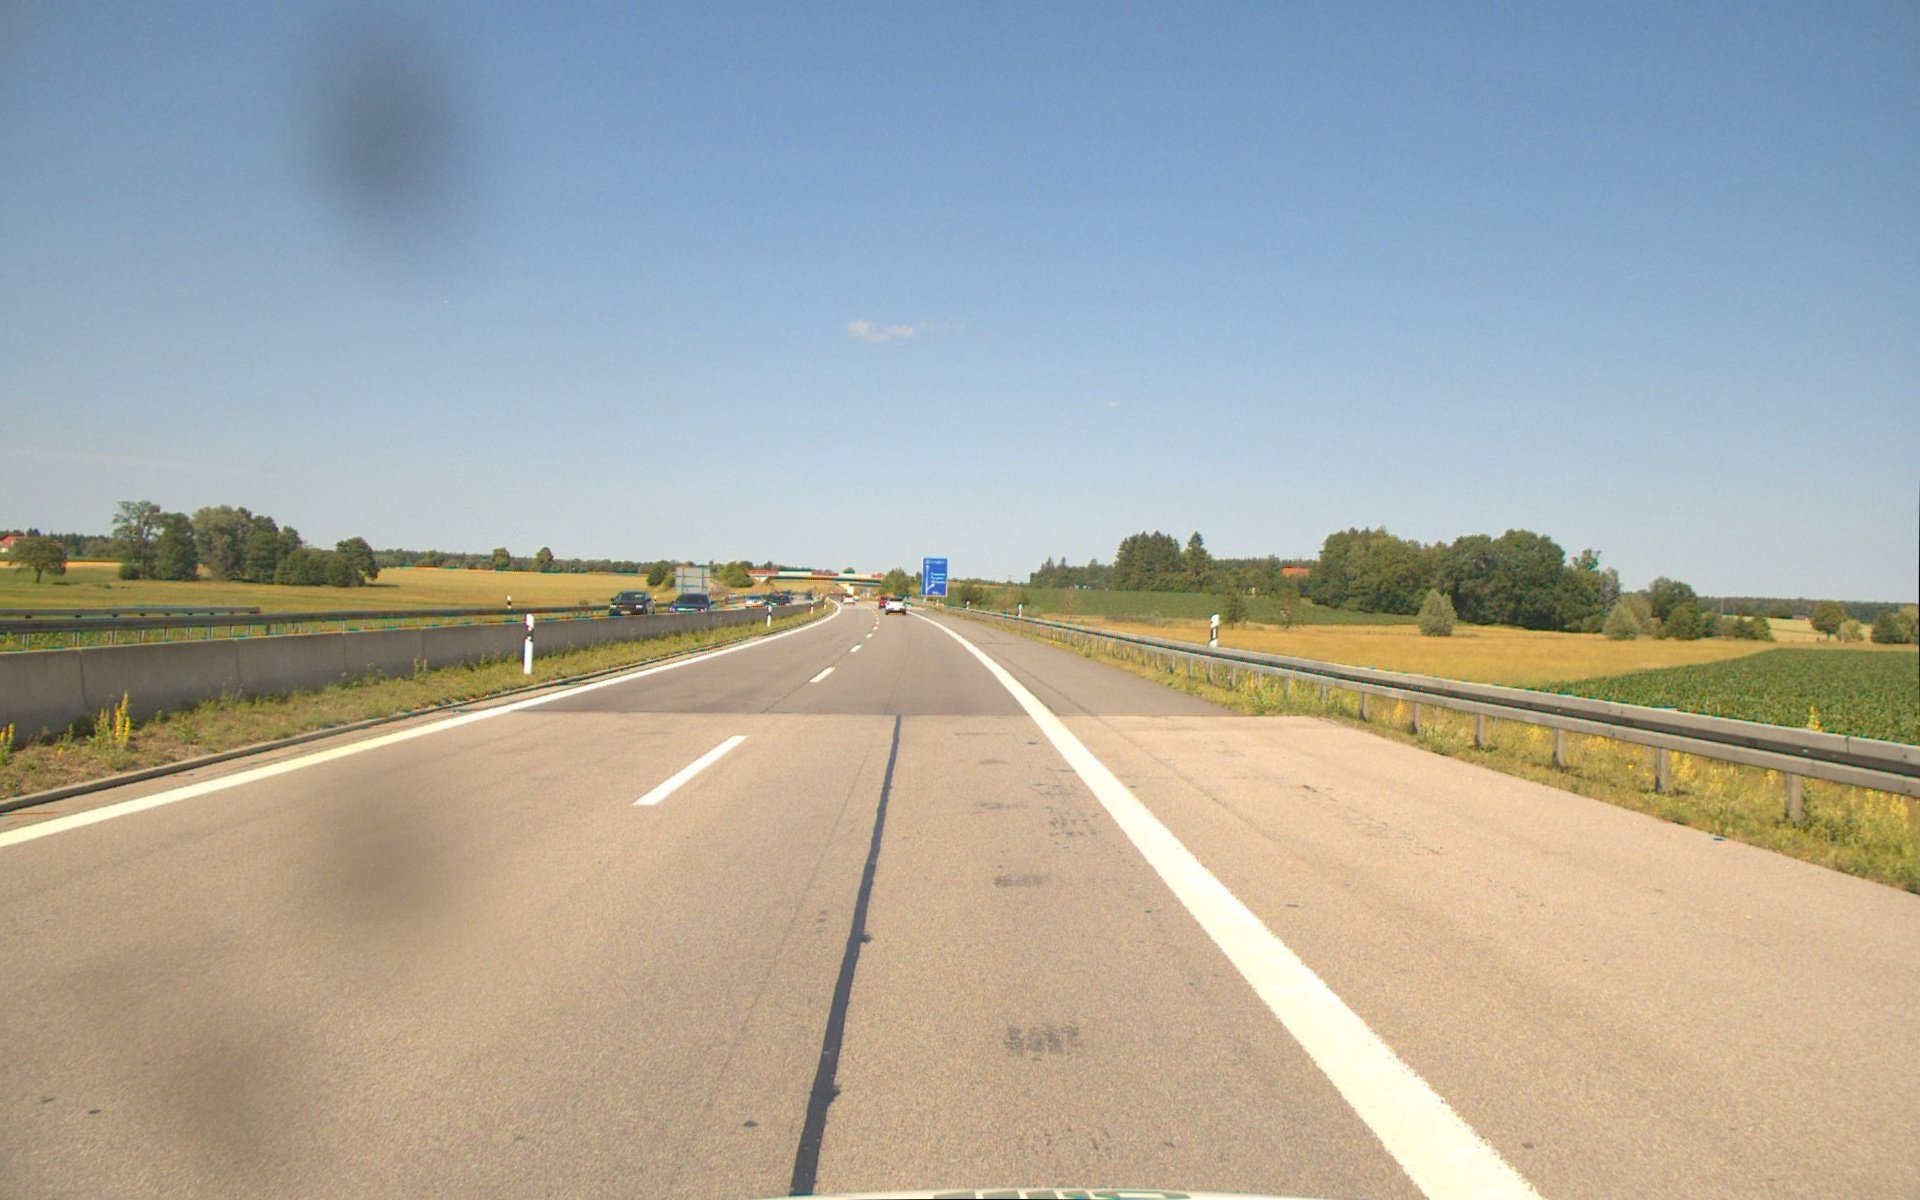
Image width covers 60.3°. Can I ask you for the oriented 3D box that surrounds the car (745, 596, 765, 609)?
[{"bbox_3d":[-21.579,0.264,174.423,1.786,1.388,5.292,0,0,-3],"label":"car"}]

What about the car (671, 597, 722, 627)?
[{"bbox_3d":[-12.634,0.549,79.506,1.786,1.388,5.195,0,0,-2],"label":"car"}]

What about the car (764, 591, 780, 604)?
[{"bbox_3d":[-24.541,-0.300,215.976,1.822,1.612,4.910,0,0,-5],"label":"car"}]

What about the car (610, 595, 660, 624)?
[{"bbox_3d":[-16.492,0.451,84.021,1.786,1.388,4.662,0,0,-2],"label":"car"}]

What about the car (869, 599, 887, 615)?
[{"bbox_3d":[-9.803,0.838,197.541,1.954,1.761,4.865,1,0,-4],"label":"car"}]

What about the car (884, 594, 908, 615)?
[{"bbox_3d":[-5.739,0.415,147.228,1.954,1.761,4.865,1,0,-4],"label":"car"}]

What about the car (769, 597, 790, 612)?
[{"bbox_3d":[-16.519,0.391,151.793,1.787,1.388,4.656,0,0,-4],"label":"car"}]

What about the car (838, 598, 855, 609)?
[{"bbox_3d":[-17.880,0.540,261.098,1.958,1.761,4.855,1,0,-12],"label":"car"}]
